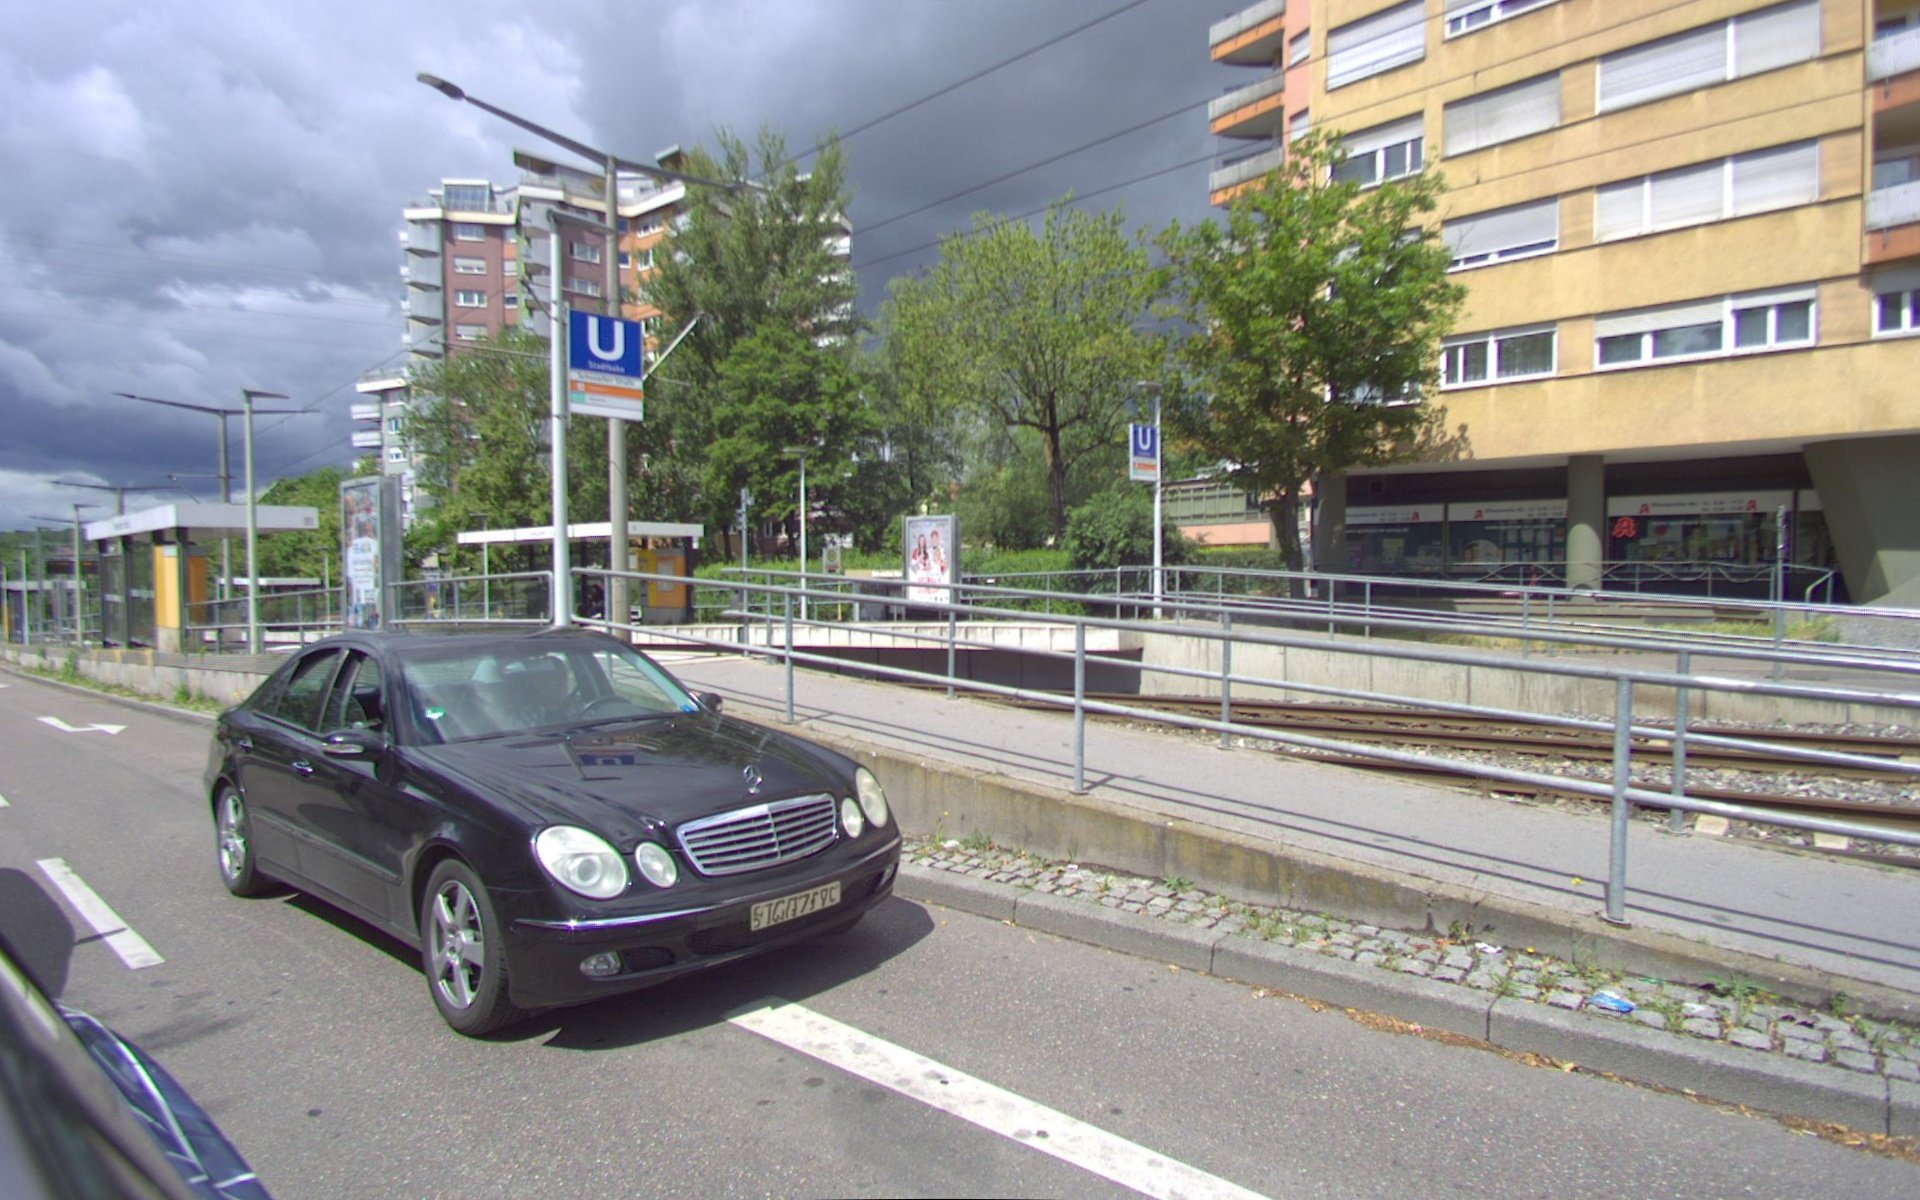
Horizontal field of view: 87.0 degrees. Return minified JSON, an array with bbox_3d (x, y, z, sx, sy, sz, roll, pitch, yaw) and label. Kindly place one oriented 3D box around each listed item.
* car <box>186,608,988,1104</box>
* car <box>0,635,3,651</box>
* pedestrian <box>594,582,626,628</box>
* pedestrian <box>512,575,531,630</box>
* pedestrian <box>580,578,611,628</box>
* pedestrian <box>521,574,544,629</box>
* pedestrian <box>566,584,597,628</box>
[{"bbox_3d":[-2.030,0.787,4.896,4.060,1.395,1.800,-2,-1,39],"label":"car"},{"bbox_3d":[-102.718,4.568,107.467,1.497,1.696,4.002,-1,-1,-45],"label":"car"},{"bbox_3d":[-9.904,0.145,28.620,0.463,1.287,0.703,-2,-1,41],"label":"pedestrian"},{"bbox_3d":[-13.803,0.081,31.828,0.421,1.726,0.353,-1,-1,0],"label":"pedestrian"},{"bbox_3d":[-10.516,0.094,29.187,0.463,1.428,0.703,-2,-1,41],"label":"pedestrian"},{"bbox_3d":[-13.447,0.049,31.827,0.544,1.726,0.386,-1,-1,0],"label":"pedestrian"},{"bbox_3d":[-11.213,0.189,30.002,0.463,1.287,0.703,-2,-1,41],"label":"pedestrian"}]
